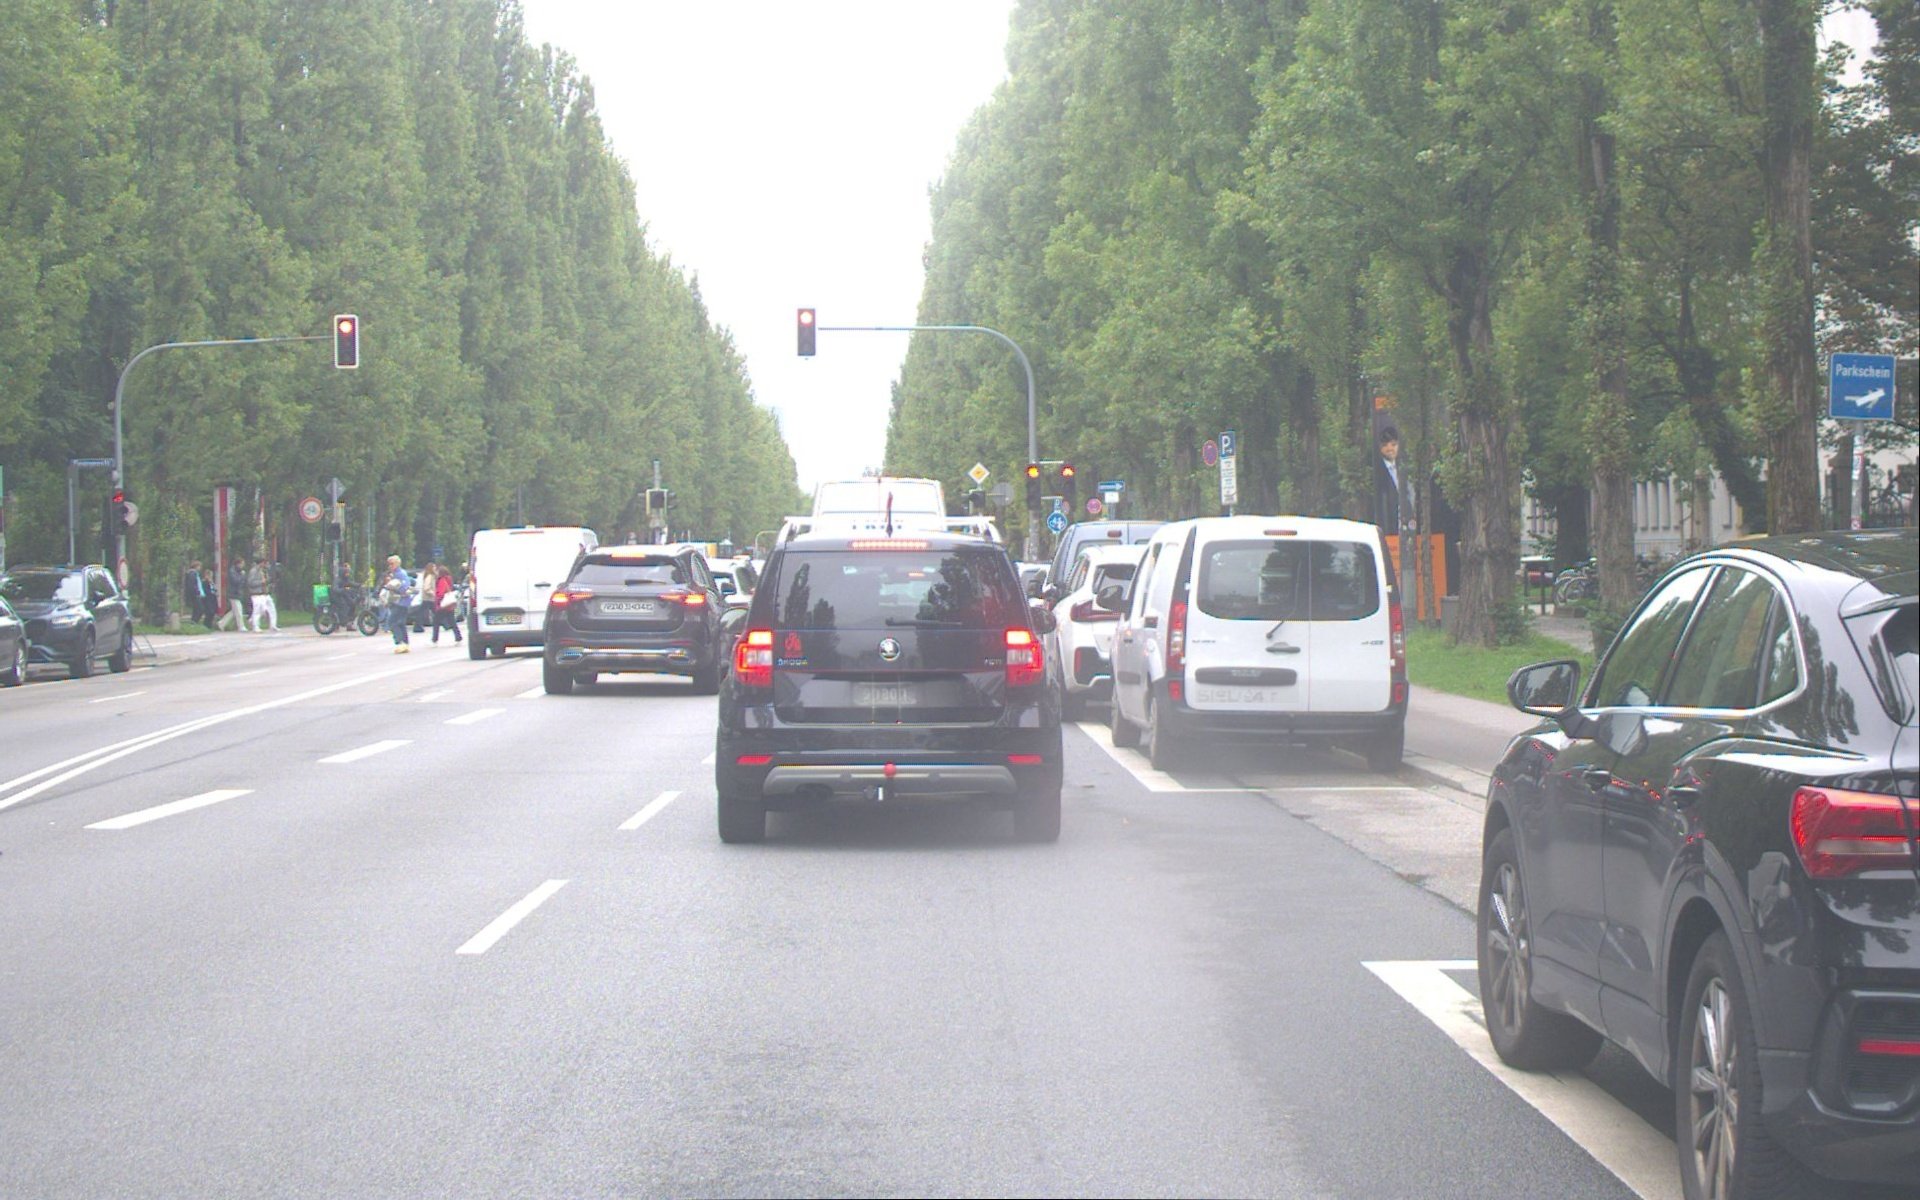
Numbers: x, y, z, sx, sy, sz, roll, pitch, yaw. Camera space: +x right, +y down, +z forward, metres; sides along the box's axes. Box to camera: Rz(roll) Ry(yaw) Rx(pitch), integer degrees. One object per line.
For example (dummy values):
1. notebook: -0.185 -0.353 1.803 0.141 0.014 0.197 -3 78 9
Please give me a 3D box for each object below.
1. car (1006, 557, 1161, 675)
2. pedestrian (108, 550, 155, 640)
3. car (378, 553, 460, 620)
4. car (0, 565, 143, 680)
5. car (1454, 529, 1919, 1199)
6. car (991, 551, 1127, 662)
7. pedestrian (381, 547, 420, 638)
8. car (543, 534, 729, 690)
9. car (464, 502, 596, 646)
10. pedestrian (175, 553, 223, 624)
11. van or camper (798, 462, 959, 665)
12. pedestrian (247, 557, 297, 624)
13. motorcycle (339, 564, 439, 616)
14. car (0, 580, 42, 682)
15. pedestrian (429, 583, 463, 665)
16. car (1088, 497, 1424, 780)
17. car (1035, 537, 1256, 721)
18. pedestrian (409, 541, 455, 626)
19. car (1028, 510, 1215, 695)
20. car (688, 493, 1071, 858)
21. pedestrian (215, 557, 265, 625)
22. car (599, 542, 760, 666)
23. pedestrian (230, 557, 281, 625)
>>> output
1. car: 1.530 0.172 43.617 1.735 1.382 3.563 -1 1 -1
2. pedestrian: -14.686 -0.100 60.955 0.660 1.572 0.530 -1 1 0
3. car: -14.831 -0.388 94.415 1.688 1.777 3.775 -1 1 -1
4. car: -14.294 0.332 54.313 1.849 1.648 4.696 -3 1 -4
5. car: 2.468 0.608 8.120 1.880 1.535 4.464 -1 1 -1
6. car: 1.379 0.065 49.121 1.735 1.470 3.563 -1 1 -1
7. pedestrian: -9.789 -0.142 60.159 0.528 1.572 0.662 -1 1 -1
8. car: -3.601 0.090 38.826 1.781 1.614 4.025 2 1 -1
9. car: -6.553 -0.413 52.716 1.781 2.104 4.025 -1 1 -4
10. pedestrian: -19.091 -0.296 86.290 0.880 1.758 0.878 -1 1 8
11. van or camper: -1.125 -0.506 45.603 1.975 2.540 4.025 -1 1 -3
12. pedestrian: -17.234 -0.233 86.085 0.880 1.649 0.878 -2 1 -39
13. motorcycle: -14.357 -0.264 86.452 2.363 1.265 0.930 -1 1 -1
14. car: -14.193 0.476 48.365 1.623 1.385 4.167 -3 1 -4
15. pedestrian: -9.442 0.443 63.192 0.517 1.480 0.536 -1 1 -1
16. car: 2.076 0.216 25.267 1.851 1.875 4.169 -1 1 -3
17. car: 1.684 0.217 32.471 1.741 1.587 4.212 -1 1 -1
18. pedestrian: -12.745 -0.403 83.042 0.885 2.007 1.013 -1 1 2
19. car: 1.724 -0.015 37.744 1.735 1.889 4.025 -1 1 -1
20. car: -0.439 0.343 18.947 1.855 1.764 4.000 1 1 -1
21. pedestrian: -17.827 -0.230 85.103 0.880 1.649 0.878 -2 1 -39
22. car: -3.780 0.018 46.976 1.993 1.555 4.001 -1 1 -2
23. pedestrian: -17.290 -0.224 84.389 0.880 1.649 0.878 -2 1 -39
